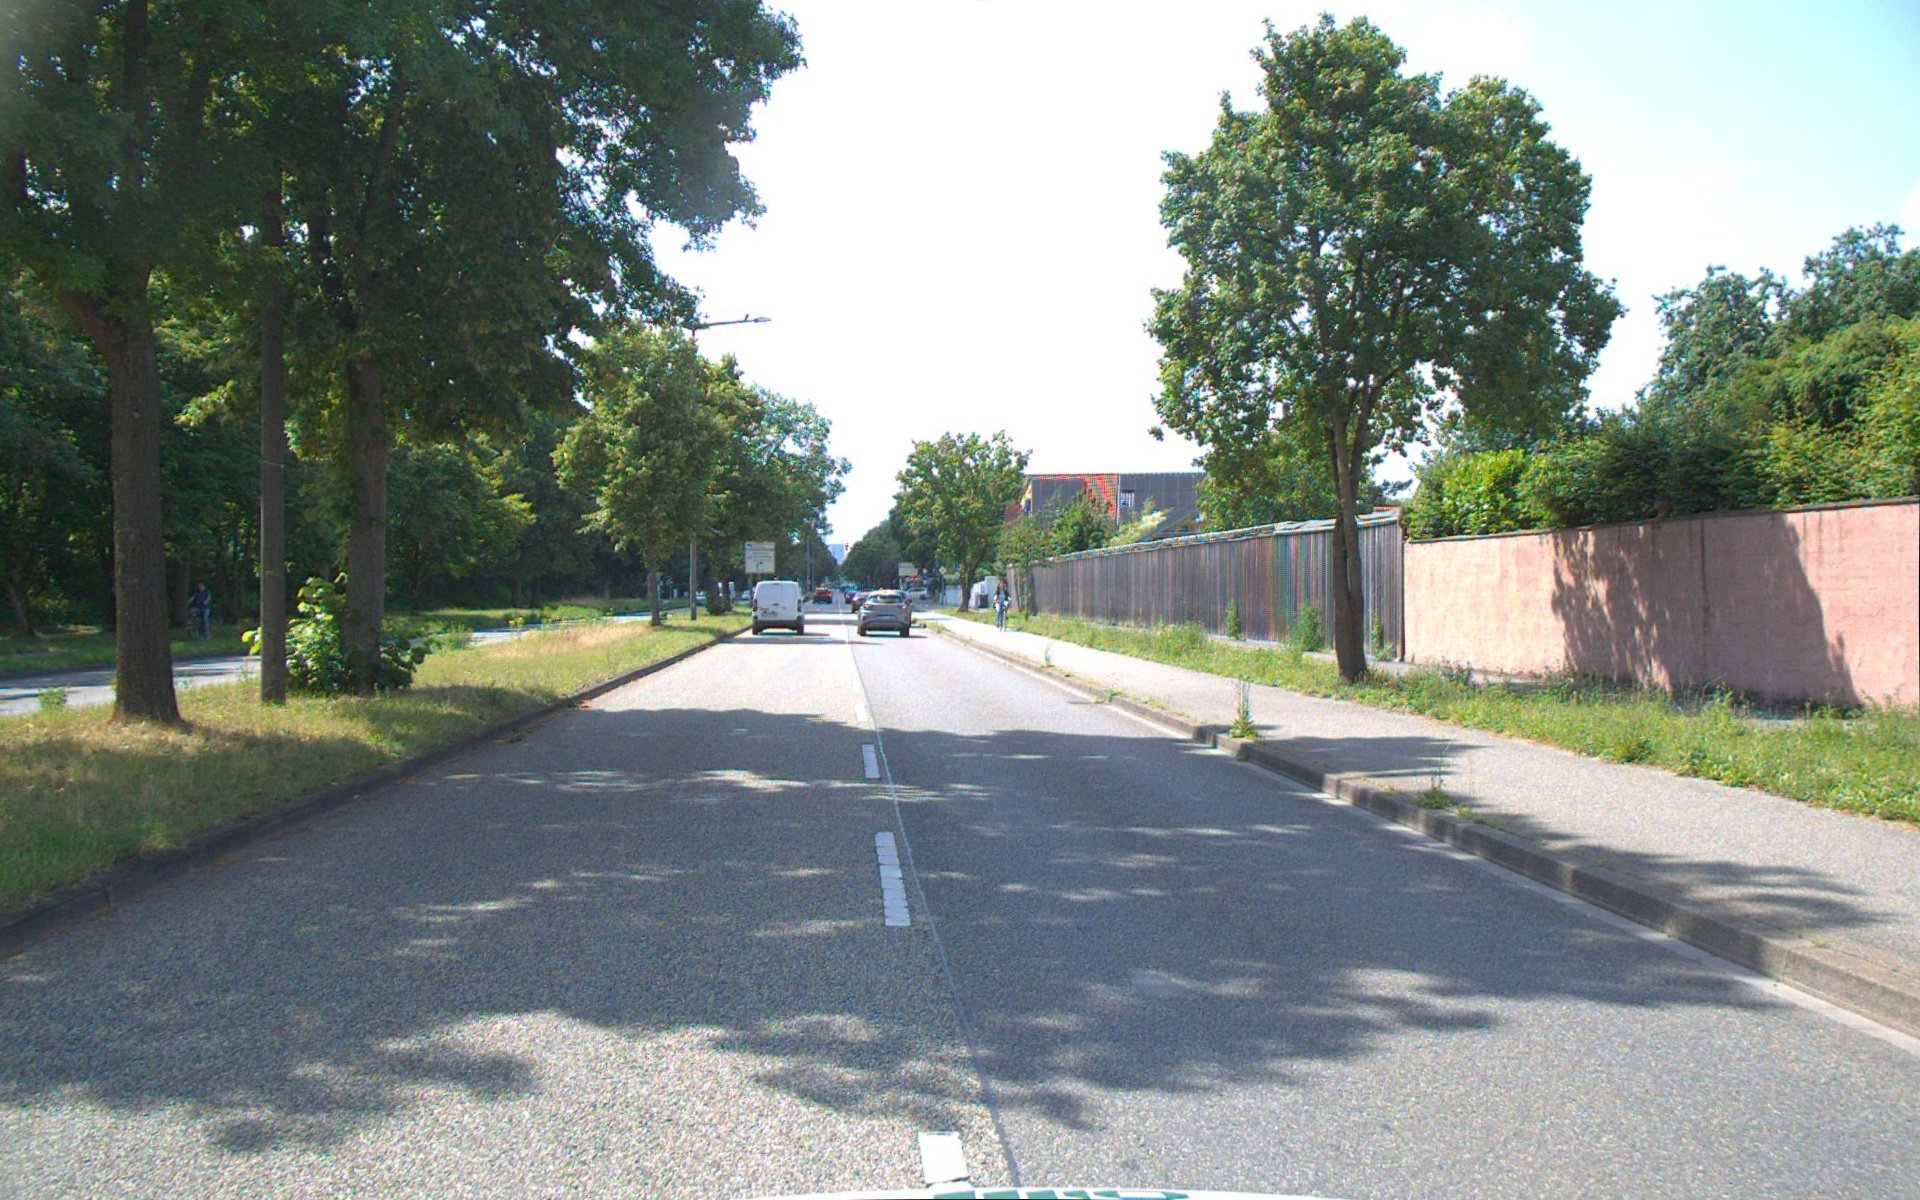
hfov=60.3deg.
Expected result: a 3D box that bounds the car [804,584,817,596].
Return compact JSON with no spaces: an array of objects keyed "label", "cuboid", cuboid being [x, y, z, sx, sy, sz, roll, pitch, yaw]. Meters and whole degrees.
[{"label":"car","cuboid":[-21.869,-1.483,242.247,1.744,1.798,4.147,0,0,-4]}]

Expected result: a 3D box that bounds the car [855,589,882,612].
[{"label":"car","cuboid":[-6.476,0.031,117.196,1.843,1.615,3.997,0,1,-4]}]

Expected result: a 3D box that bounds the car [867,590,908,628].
[{"label":"car","cuboid":[-3.285,0.368,74.746,1.744,1.672,4.193,0,0,-4]}]

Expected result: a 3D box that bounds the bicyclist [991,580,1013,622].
[{"label":"bicyclist","cuboid":[1.471,0.034,58.088,0.641,1.436,0.986,-3,0,-3]}]

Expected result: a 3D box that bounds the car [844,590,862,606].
[{"label":"car","cuboid":[-12.338,-0.232,190.770,1.954,1.803,4.143,1,1,-4]}]

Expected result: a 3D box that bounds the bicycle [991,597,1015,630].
[{"label":"bicycle","cuboid":[1.495,0.457,58.000,0.633,1.086,2.277,-3,1,-3]}]

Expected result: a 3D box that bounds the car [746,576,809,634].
[{"label":"car","cuboid":[-6.389,0.140,58.356,2.025,1.945,4.642,0,1,-4]}]

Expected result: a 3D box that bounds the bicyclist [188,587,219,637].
[{"label":"bicyclist","cuboid":[-22.806,0.355,49.867,0.605,1.473,0.729,0,0,-2]}]

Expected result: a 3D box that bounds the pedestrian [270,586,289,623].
[{"label":"pedestrian","cuboid":[-30.987,0.196,75.316,0.631,1.658,0.655,1,0,-4]}]

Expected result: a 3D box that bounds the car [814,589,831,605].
[{"label":"car","cuboid":[-15.711,-0.389,189.222,1.903,1.798,4.143,0,0,-4]}]

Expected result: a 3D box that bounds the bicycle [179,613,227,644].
[{"label":"bicycle","cuboid":[-22.808,0.843,49.871,0.605,0.894,1.914,0,0,-1]}]

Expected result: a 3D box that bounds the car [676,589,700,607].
[{"label":"car","cuboid":[-26.927,-0.219,163.903,1.954,1.735,4.190,0,0,-4]}]

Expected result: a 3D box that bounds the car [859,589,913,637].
[{"label":"car","cuboid":[-2.646,0.430,58.374,1.838,1.617,4.181,0,0,-4]}]
